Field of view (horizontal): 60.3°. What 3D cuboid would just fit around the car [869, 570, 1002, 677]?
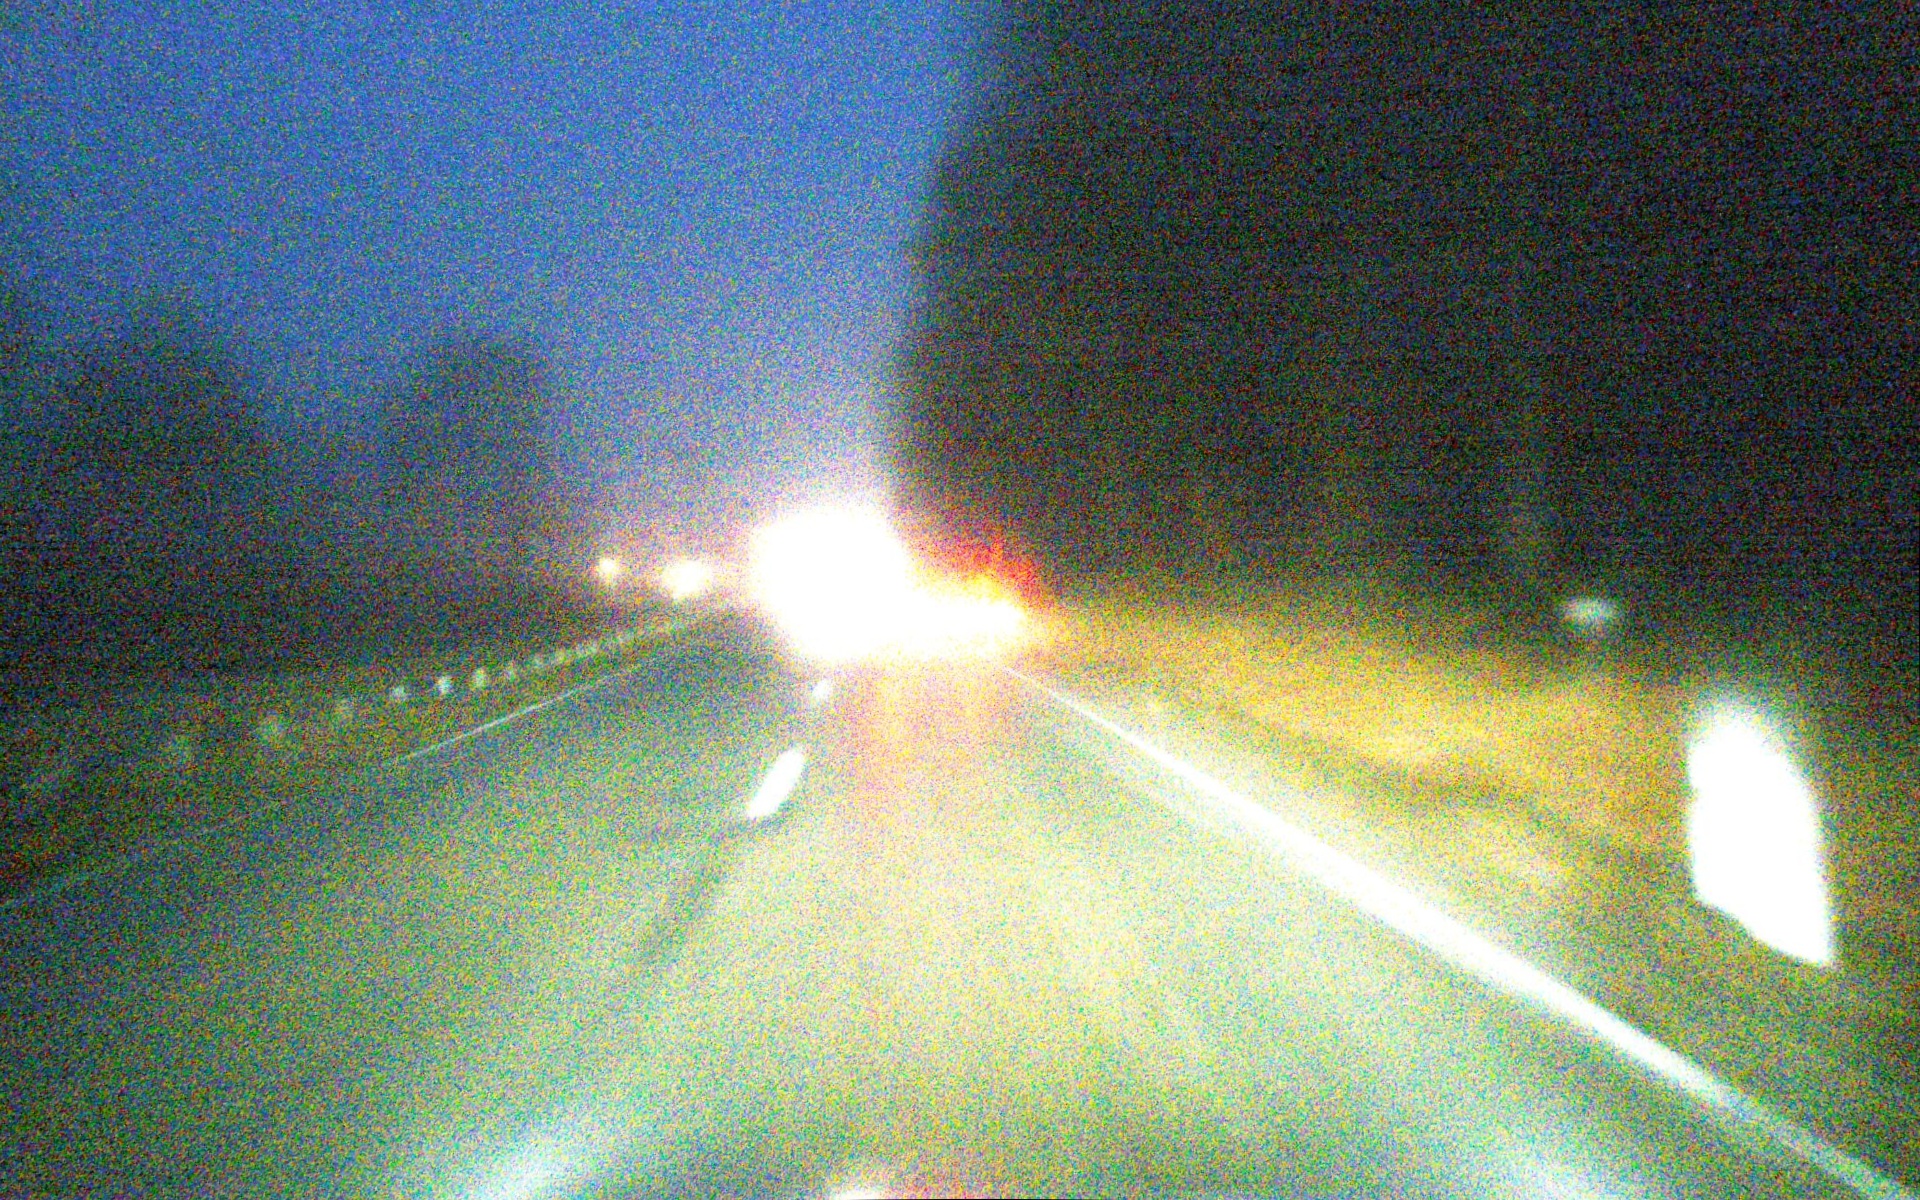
[{"bbox_3d":[-0.585,0.445,33.335,2.409,1.993,4.907,0,0,-4],"label":"car"}]

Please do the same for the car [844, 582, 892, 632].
[{"bbox_3d":[-3.985,0.298,71.566,1.954,2.049,3.997,1,0,-3],"label":"car"}]
